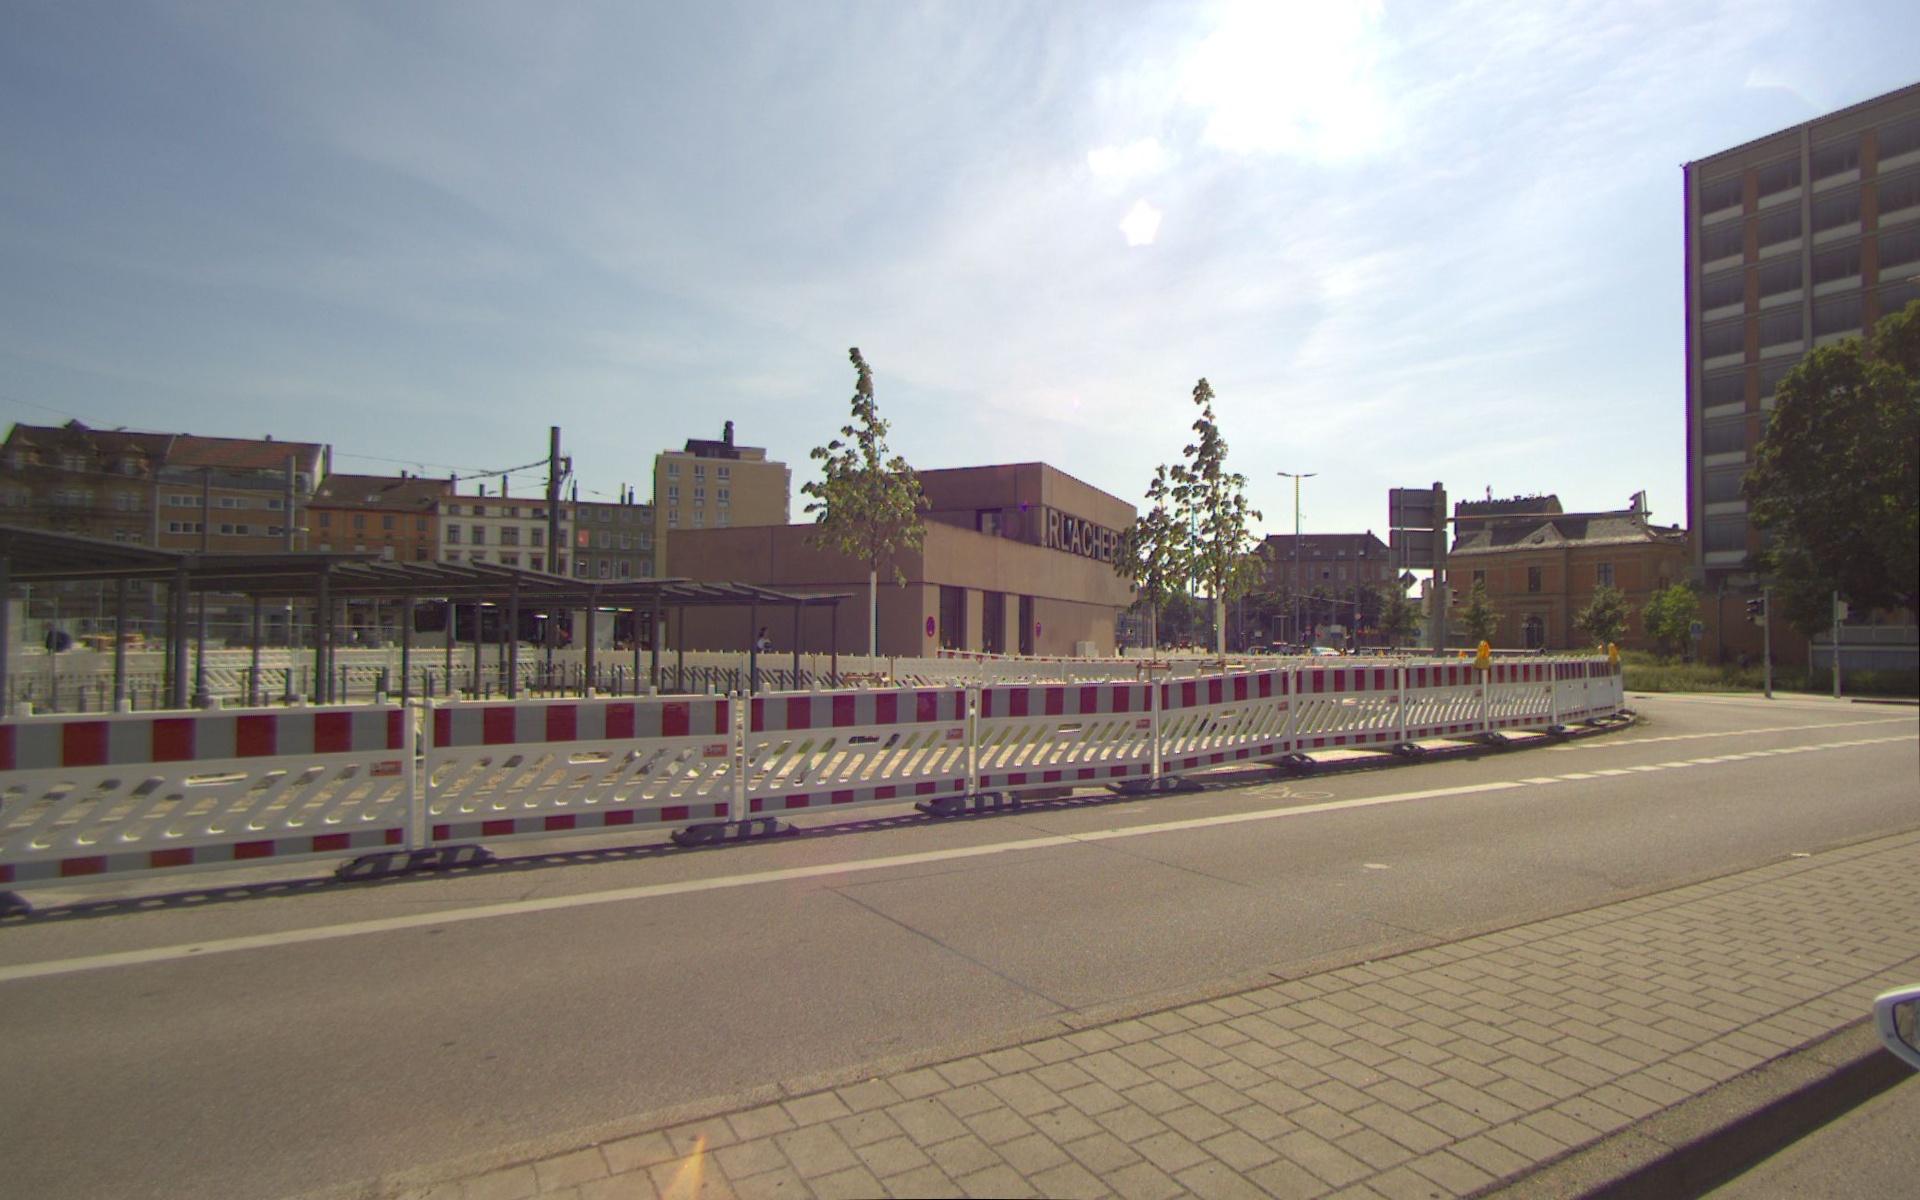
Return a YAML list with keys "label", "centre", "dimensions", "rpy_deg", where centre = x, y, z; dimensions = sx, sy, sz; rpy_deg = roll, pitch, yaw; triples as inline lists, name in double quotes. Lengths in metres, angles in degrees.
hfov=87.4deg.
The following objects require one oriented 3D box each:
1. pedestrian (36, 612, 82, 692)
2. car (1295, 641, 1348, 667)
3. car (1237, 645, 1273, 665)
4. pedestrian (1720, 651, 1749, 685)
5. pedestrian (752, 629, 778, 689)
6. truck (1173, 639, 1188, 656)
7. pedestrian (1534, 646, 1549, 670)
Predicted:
- label: "pedestrian"
  centre: [-23.395, 1.350, 26.087]
  dimensions: [0.807, 2.040, 0.684]
  rpy_deg: [-1, -3, 35]
- label: "car"
  centre: [26.065, 3.865, 72.559]
  dimensions: [1.963, 1.839, 3.996]
  rpy_deg: [1, -2, -7]
- label: "car"
  centre: [23.516, 4.375, 80.192]
  dimensions: [1.764, 1.530, 4.001]
  rpy_deg: [1, -2, 1]
- label: "pedestrian"
  centre: [40.168, 3.539, 52.121]
  dimensions: [0.857, 1.748, 0.799]
  rpy_deg: [1, -2, -7]
- label: "pedestrian"
  centre: [-5.215, 1.563, 26.892]
  dimensions: [0.416, 1.585, 0.557]
  rpy_deg: [-1, -2, 28]
- label: "truck"
  centre: [52.447, 11.331, 239.176]
  dimensions: [3.011, 3.779, 7.937]
  rpy_deg: [0, -2, 10]
- label: "pedestrian"
  centre: [41.489, 4.134, 71.699]
  dimensions: [0.637, 1.683, 0.650]
  rpy_deg: [2, 0, -3]
